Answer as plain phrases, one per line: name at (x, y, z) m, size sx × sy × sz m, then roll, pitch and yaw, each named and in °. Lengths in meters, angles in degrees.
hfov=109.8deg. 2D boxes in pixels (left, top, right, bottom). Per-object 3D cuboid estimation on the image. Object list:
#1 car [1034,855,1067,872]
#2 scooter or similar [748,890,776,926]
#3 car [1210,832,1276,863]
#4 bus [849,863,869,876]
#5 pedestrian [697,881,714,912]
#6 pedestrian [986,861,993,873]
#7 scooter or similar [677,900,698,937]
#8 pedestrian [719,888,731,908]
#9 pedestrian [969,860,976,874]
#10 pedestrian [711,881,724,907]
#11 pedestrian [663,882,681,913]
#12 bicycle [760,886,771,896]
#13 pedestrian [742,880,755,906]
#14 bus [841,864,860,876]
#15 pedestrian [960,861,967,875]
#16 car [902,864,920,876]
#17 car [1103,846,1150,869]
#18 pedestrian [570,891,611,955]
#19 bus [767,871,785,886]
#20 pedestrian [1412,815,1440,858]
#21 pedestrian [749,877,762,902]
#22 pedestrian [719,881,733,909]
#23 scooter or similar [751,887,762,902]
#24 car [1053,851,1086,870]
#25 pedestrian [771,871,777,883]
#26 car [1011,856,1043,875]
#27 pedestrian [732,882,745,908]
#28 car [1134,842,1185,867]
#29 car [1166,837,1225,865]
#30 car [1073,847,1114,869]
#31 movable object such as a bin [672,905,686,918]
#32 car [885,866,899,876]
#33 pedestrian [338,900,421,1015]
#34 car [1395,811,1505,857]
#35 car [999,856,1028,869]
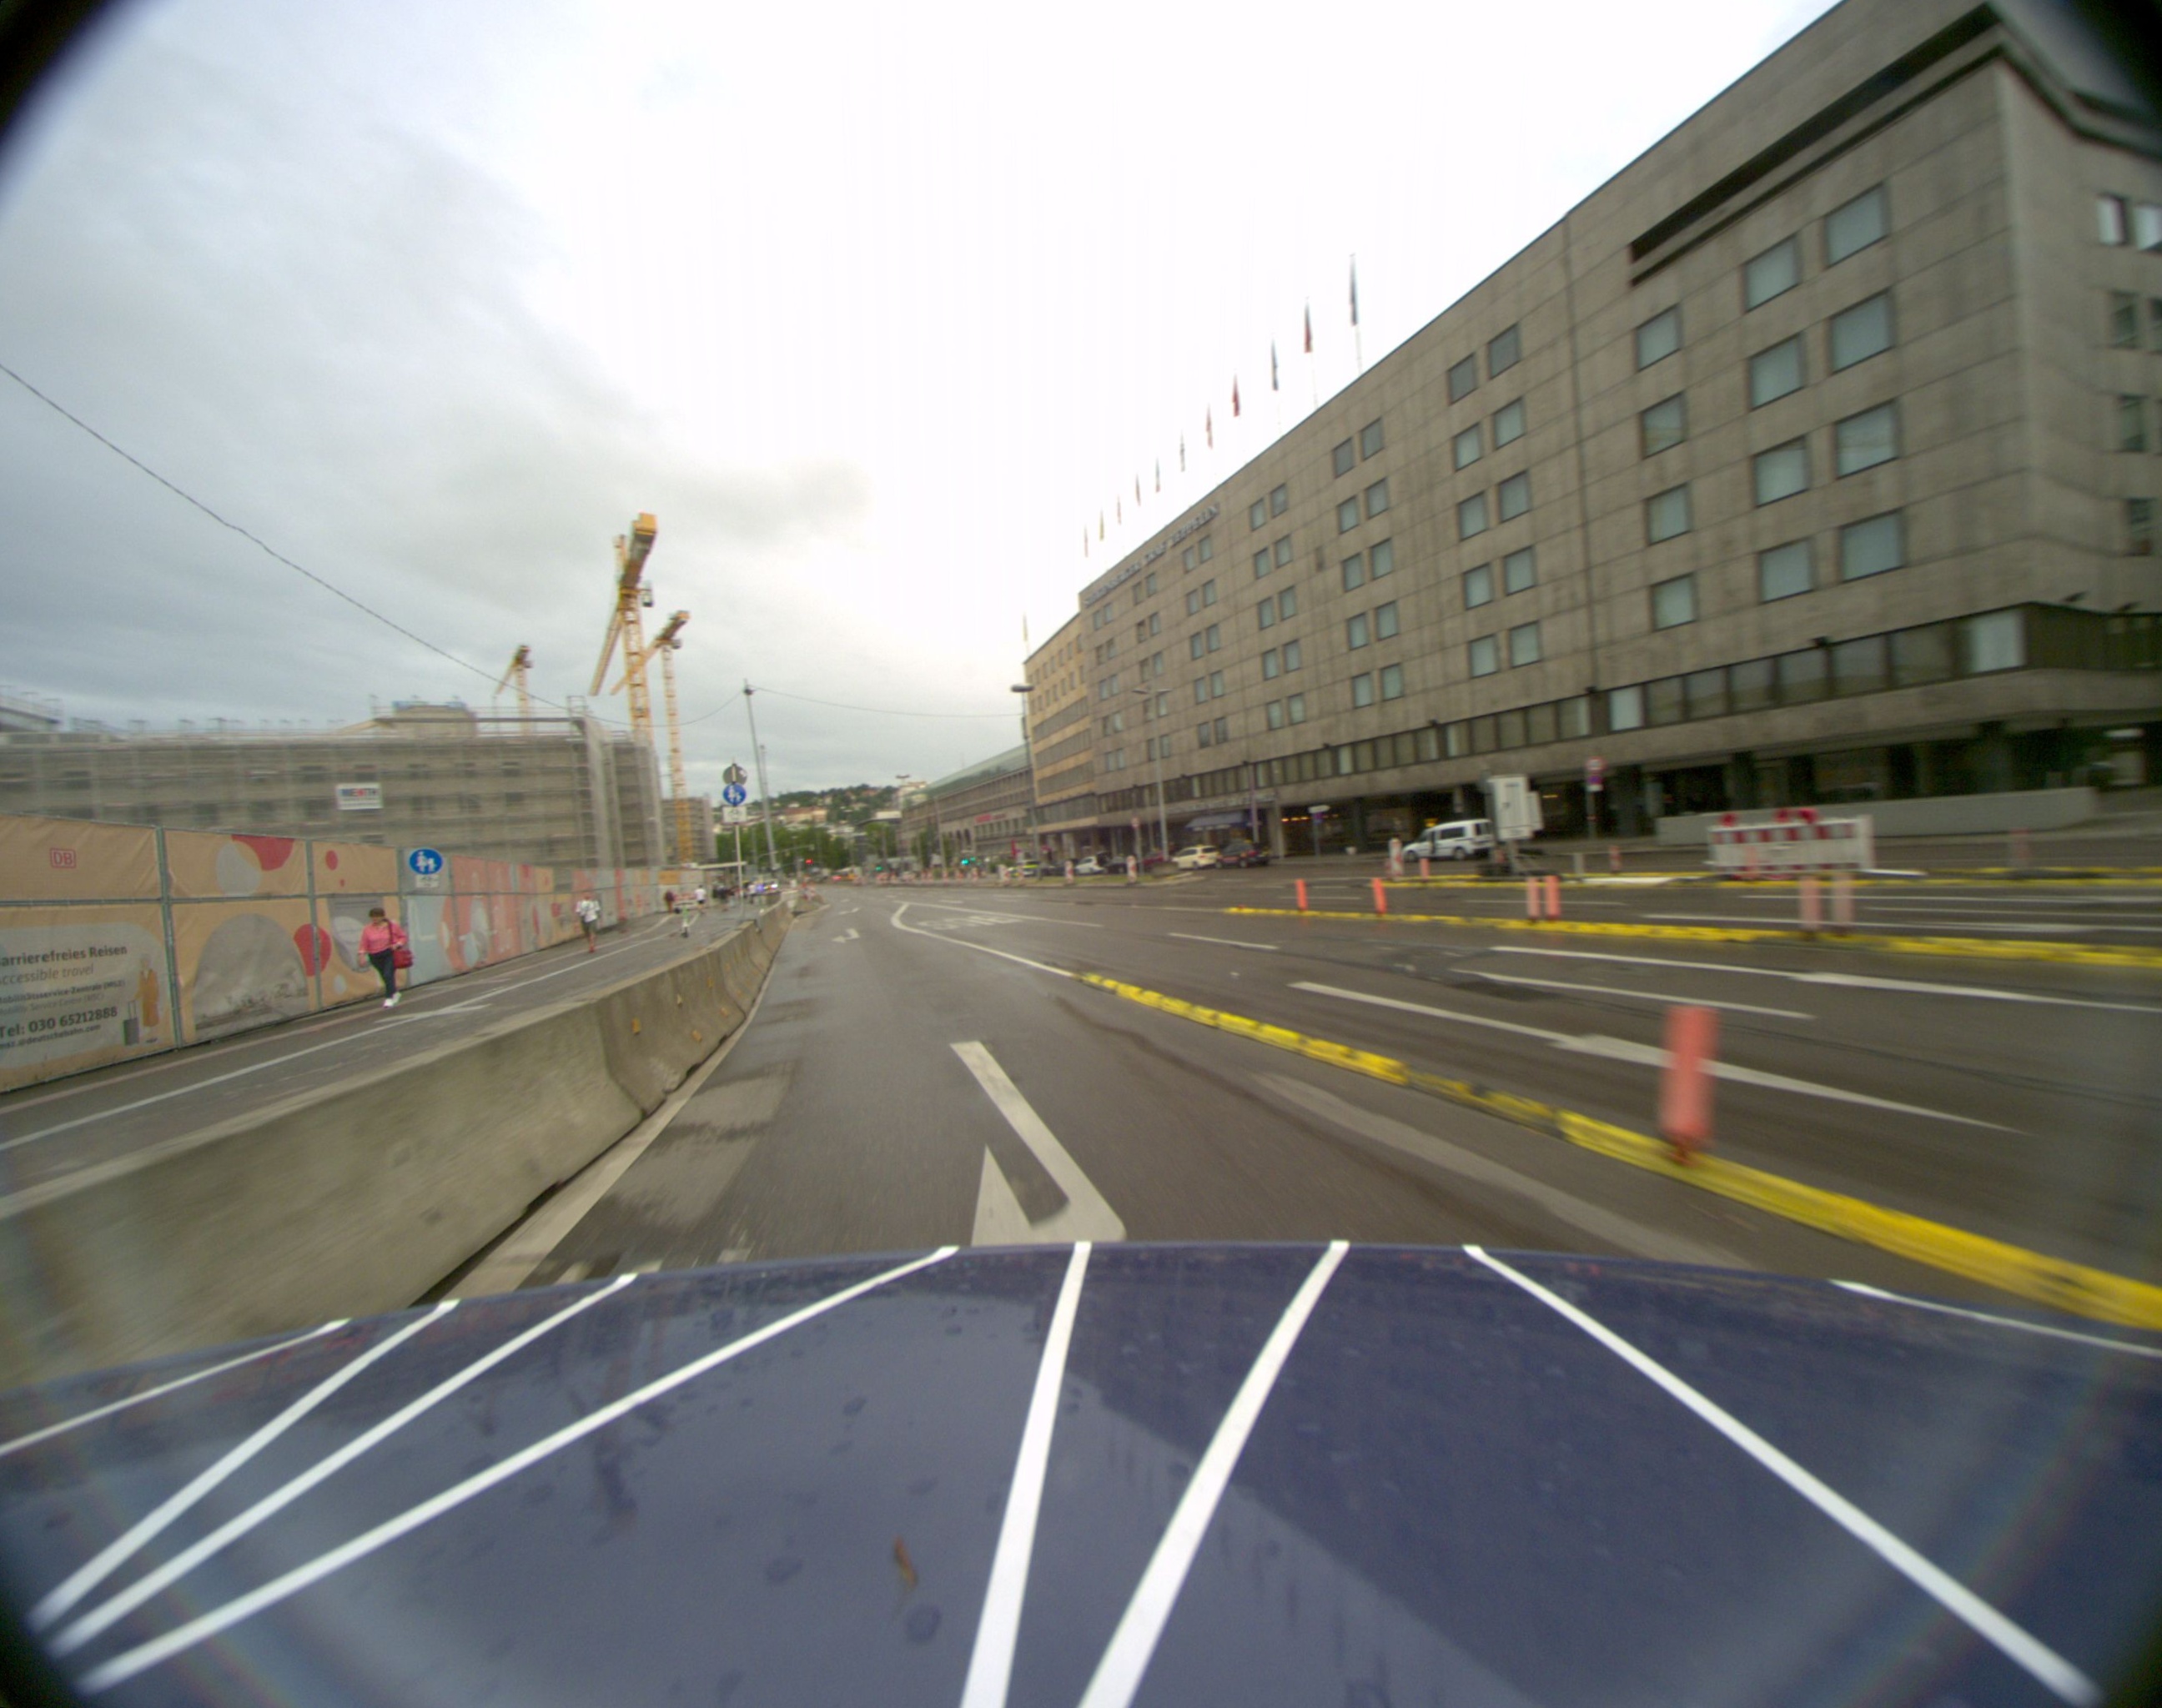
car at (-3.254, 0.999, 80.143) m, size 1.762 × 1.612 × 4.556 m, roll -5°, pitch 1°, yaw -25°
scooter or similar at (-12.074, 2.021, 28.782) m, size 0.677 × 1.207 × 1.569 m, roll -5°, pitch 1°, yaw -16°
car at (10.504, -0.373, 49.654) m, size 1.823 × 1.718 × 4.506 m, roll -5°, pitch 1°, yaw -22°
bus at (-57.020, 4.031, 194.857) m, size 2.914 × 2.923 × 9.803 m, roll -5°, pitch 1°, yaw -27°
pedestrian at (-22.251, 2.520, 45.058) m, size 0.686 × 1.730 × 0.906 m, roll -5°, pitch 1°, yaw -22°
pedestrian at (-12.542, 1.806, 104.435) m, size 0.565 × 1.659 × 0.751 m, roll -5°, pitch 1°, yaw -26°
scooter or similar at (-13.567, 2.219, 26.192) m, size 0.469 × 1.176 × 1.412 m, roll -6°, pitch 1°, yaw -30°
pedestrian at (-35.163, 4.311, 75.138) m, size 0.852 × 1.884 × 0.661 m, roll -5°, pitch 1°, yaw -20°
pedestrian at (-15.582, 1.895, 109.305) m, size 0.592 × 1.914 × 0.750 m, roll -5°, pitch 1°, yaw -25°
pedestrian at (-27.357, 2.968, 57.159) m, size 0.686 × 1.878 × 0.692 m, roll -5°, pitch 1°, yaw -23°
pedestrian at (-26.202, 2.785, 48.702) m, size 0.770 × 1.884 × 0.653 m, roll -5°, pitch 1°, yaw -20°
bicycle at (-40.503, 4.702, 97.568) m, size 0.756 × 1.127 × 1.991 m, roll -2°, pitch 0°, yaw -5°
pedestrian at (-25.003, 2.912, 57.178) m, size 0.686 × 1.878 × 0.692 m, roll -5°, pitch 1°, yaw -19°
bus at (-62.167, 4.459, 204.868) m, size 2.914 × 2.923 × 9.803 m, roll -5°, pitch 1°, yaw -27°
pedestrian at (-17.110, 2.018, 110.531) m, size 0.706 × 2.002 × 0.806 m, roll -5°, pitch 1°, yaw -24°
car at (-28.418, 2.668, 126.693) m, size 1.831 × 1.659 × 4.492 m, roll -5°, pitch 1°, yaw -25°
car at (3.829, 0.314, 64.715) m, size 1.911 × 1.650 × 4.608 m, roll -5°, pitch 0°, yaw -24°
pedestrian at (-15.064, 2.095, 23.360) m, size 0.706 × 1.855 × 0.988 m, roll -5°, pitch 1°, yaw -20°
bus at (-71.799, 5.700, 178.713) m, size 3.004 × 3.120 × 7.750 m, roll -5°, pitch 1°, yaw -27°
pedestrian at (15.924, -0.799, 35.103) m, size 0.694 × 1.875 × 0.794 m, roll -5°, pitch 1°, yaw -25°
pedestrian at (-27.548, 2.972, 64.329) m, size 0.806 × 2.005 × 0.970 m, roll -5°, pitch 1°, yaw -19°
pedestrian at (-22.589, 2.601, 48.343) m, size 0.645 × 1.730 × 0.836 m, roll -5°, pitch 1°, yaw -22°
scooter or similar at (-27.899, 3.462, 65.281) m, size 0.667 × 1.191 × 1.042 m, roll -5°, pitch 1°, yaw -19°
car at (-1.200, 0.657, 75.107) m, size 1.761 × 1.671 × 4.222 m, roll -5°, pitch 0°, yaw -21°
pedestrian at (-55.038, 4.143, 136.083) m, size 0.736 × 2.002 × 0.645 m, roll -5°, pitch 1°, yaw -30°
car at (-6.249, 1.334, 87.249) m, size 1.908 × 1.917 × 5.067 m, roll -5°, pitch -1°, yaw -25°
pedestrian at (-25.666, 3.082, 56.940) m, size 0.686 × 1.878 × 0.692 m, roll -5°, pitch 1°, yaw -19°
car at (6.097, 0.064, 59.682) m, size 1.910 × 1.757 × 4.639 m, roll -5°, pitch 1°, yaw -22°
car at (8.172, -0.188, 54.672) m, size 1.824 × 1.688 × 4.569 m, roll -5°, pitch 1°, yaw -24°
car at (1.095, 0.398, 70.226) m, size 1.762 × 1.748 × 4.702 m, roll -5°, pitch 1°, yaw -25°
movable object such as a bin at (-26.021, 3.723, 49.185) m, size 0.599 × 0.730 × 0.776 m, roll -5°, pitch 4°, yaw -19°
car at (-36.057, 3.240, 144.583) m, size 1.781 × 1.659 × 4.492 m, roll -4°, pitch 0°, yaw -23°
pedestrian at (-12.236, 1.781, 13.279) m, size 0.722 × 1.855 × 0.708 m, roll -5°, pitch 1°, yaw -22°
car at (17.142, -0.889, 35.537) m, size 1.781 × 1.752 × 4.364 m, roll -5°, pitch 1°, yaw -25°
car at (-10.640, 1.365, 119.921) m, size 4.097 × 1.630 × 1.803 m, roll -5°, pitch 1°, yaw -20°
